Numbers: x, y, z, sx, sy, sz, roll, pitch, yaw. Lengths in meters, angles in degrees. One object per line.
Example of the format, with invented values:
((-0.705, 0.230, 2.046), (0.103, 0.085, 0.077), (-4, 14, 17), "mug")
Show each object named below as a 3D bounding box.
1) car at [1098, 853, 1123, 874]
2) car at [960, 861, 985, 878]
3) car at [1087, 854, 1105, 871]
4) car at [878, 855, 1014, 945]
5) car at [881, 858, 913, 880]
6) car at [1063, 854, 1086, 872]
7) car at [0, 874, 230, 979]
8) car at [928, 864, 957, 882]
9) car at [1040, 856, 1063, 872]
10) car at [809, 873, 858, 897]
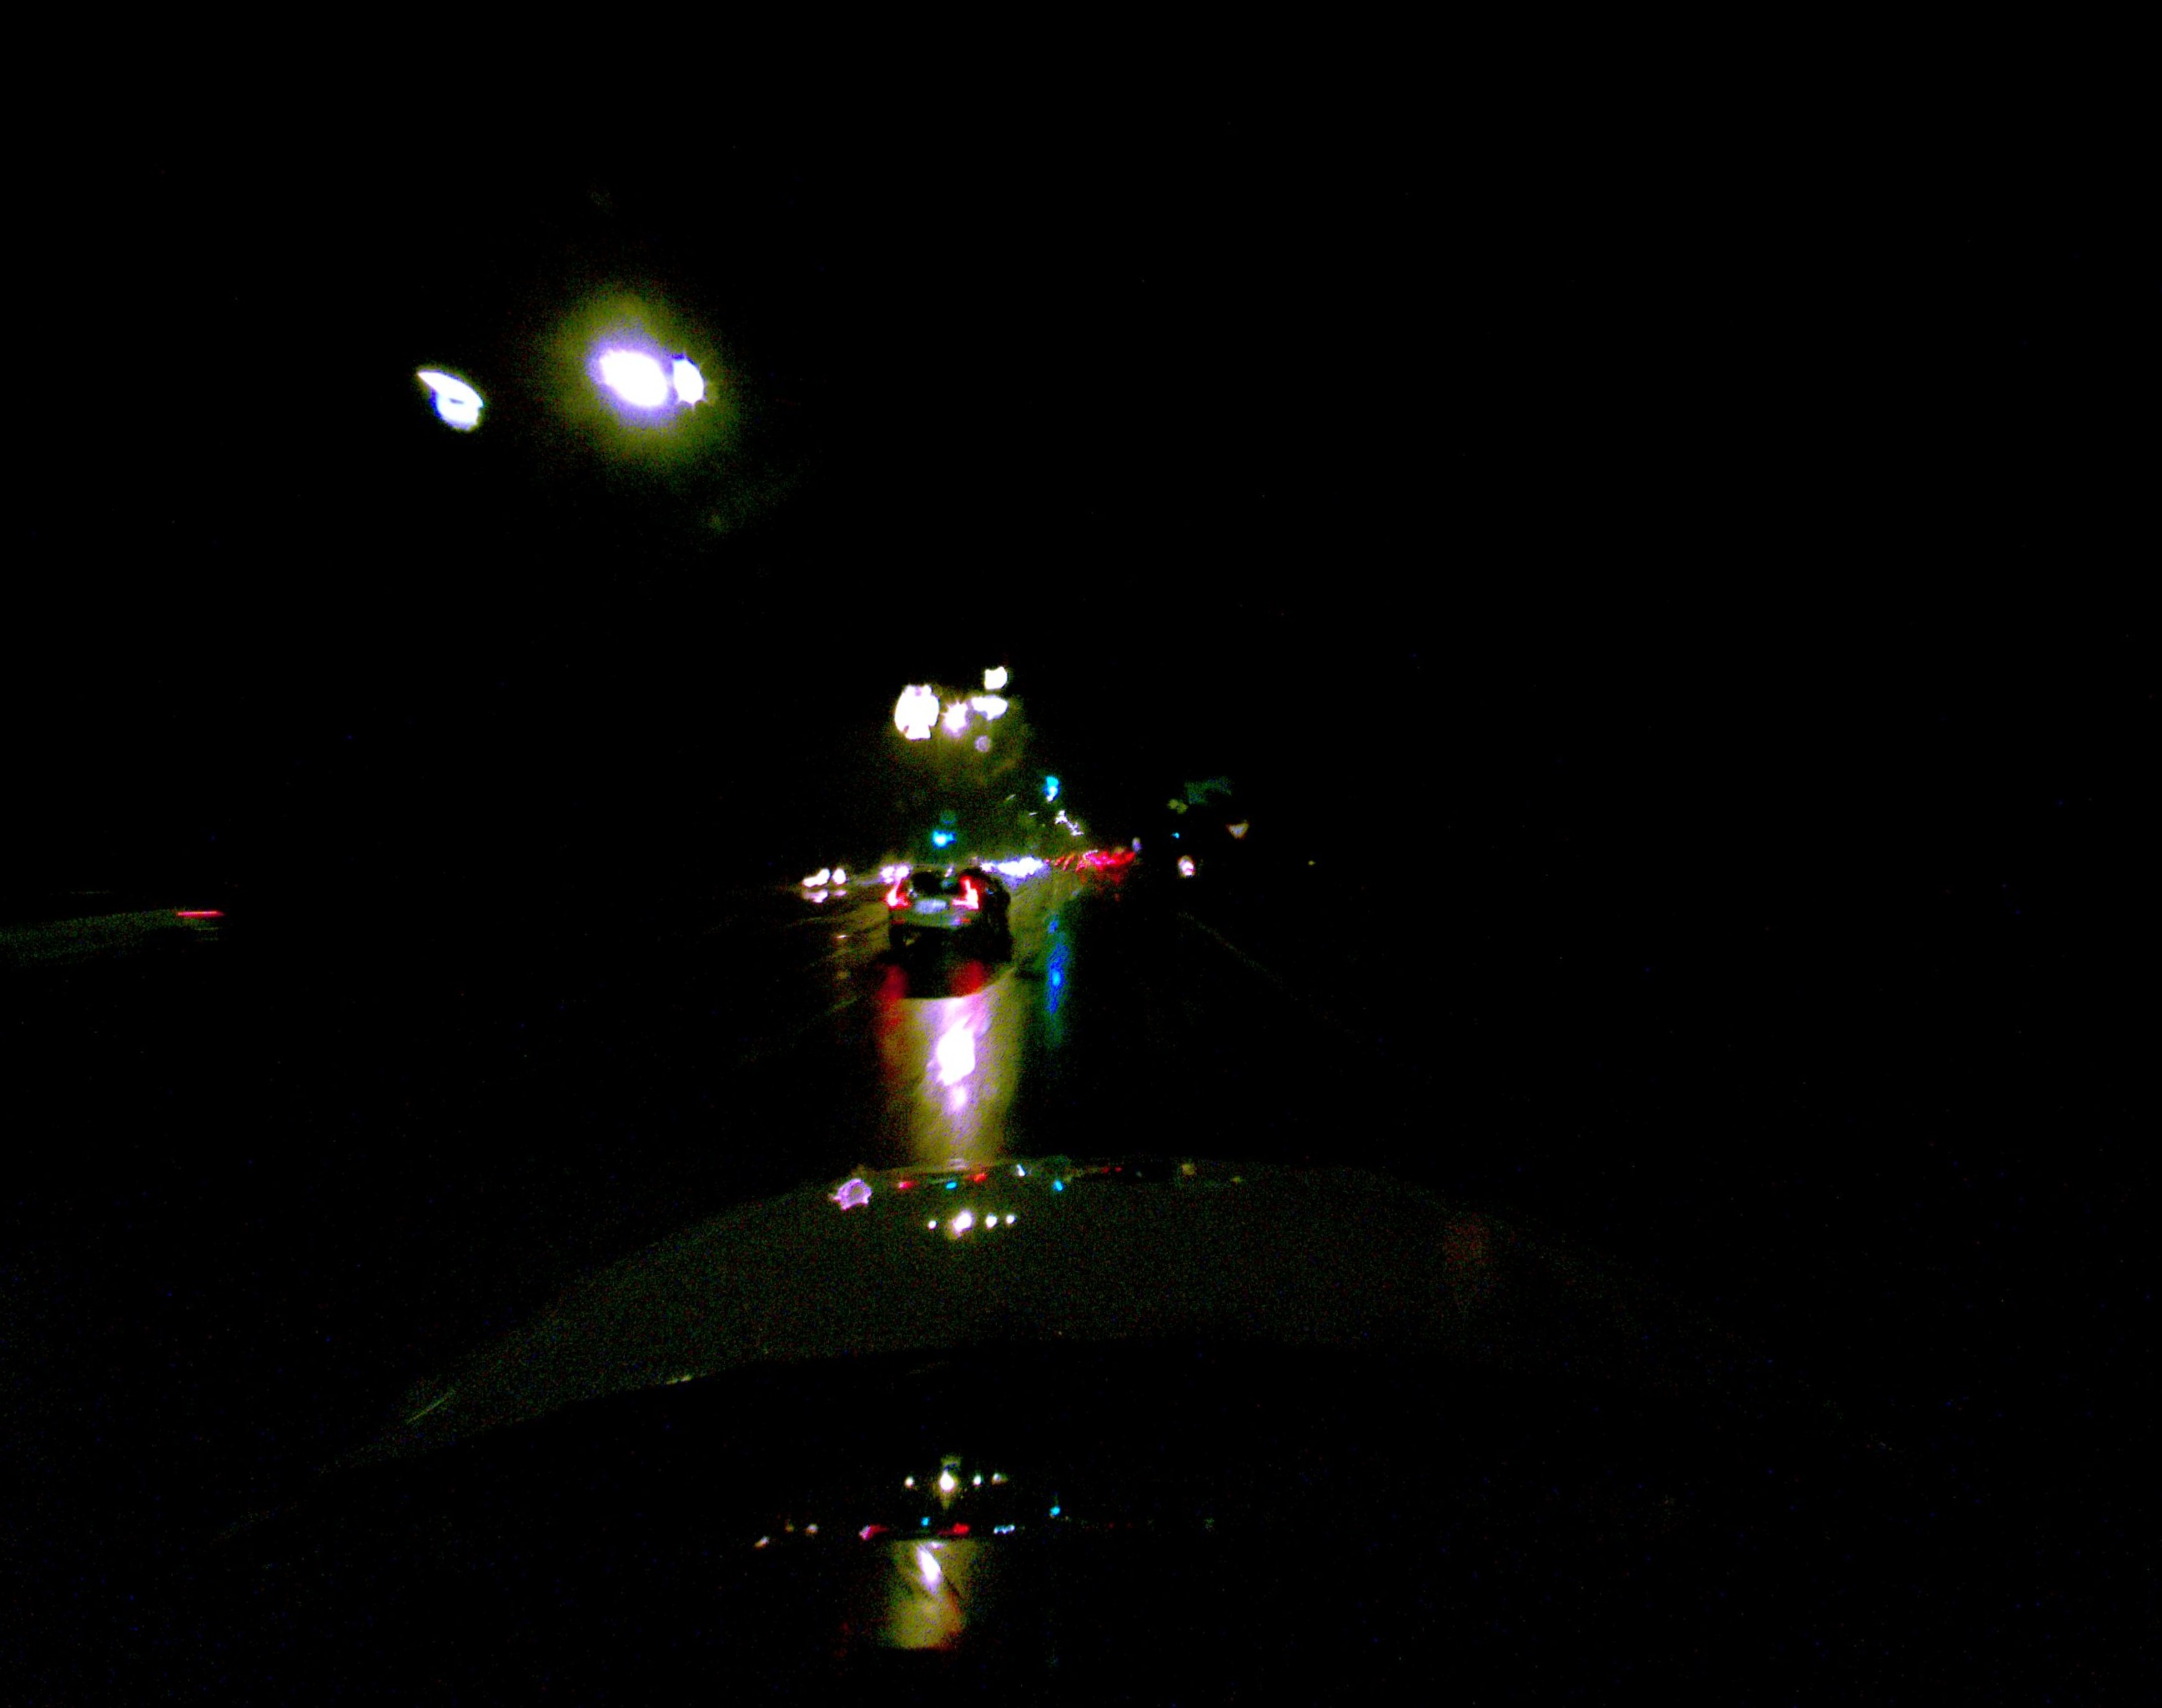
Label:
((2.639, 0.864, 71.934), (1.901, 1.602, 4.005), (3, -3, 5), "car")
((-9.446, 1.316, 71.109), (1.583, 1.427, 3.353), (-1, 0, 3), "car")
((1.871, 1.053, 100.325), (1.986, 1.839, 4.001), (4, -3, 2), "car")
((-2.431, 0.770, 15.709), (1.790, 1.452, 4.270), (-1, 0, 1), "car")
((-16.763, 1.322, 74.352), (1.756, 1.892, 4.207), (-1, 0, 1), "car")
((-0.645, 0.925, 84.894), (2.169, 1.602, 4.001), (3, -3, 2), "car")
((-17.421, 1.155, 13.499), (1.876, 1.530, 4.433), (-1, 0, 2), "car")
((-12.949, 1.739, 76.274), (1.774, 1.608, 4.247), (-1, 0, 3), "car")
((-3.471, 1.219, 97.531), (2.167, 1.602, 4.005), (3, -3, 5), "car")
((-14.065, 1.732, 46.533), (1.638, 1.203, 3.614), (-1, 0, 0), "car")
